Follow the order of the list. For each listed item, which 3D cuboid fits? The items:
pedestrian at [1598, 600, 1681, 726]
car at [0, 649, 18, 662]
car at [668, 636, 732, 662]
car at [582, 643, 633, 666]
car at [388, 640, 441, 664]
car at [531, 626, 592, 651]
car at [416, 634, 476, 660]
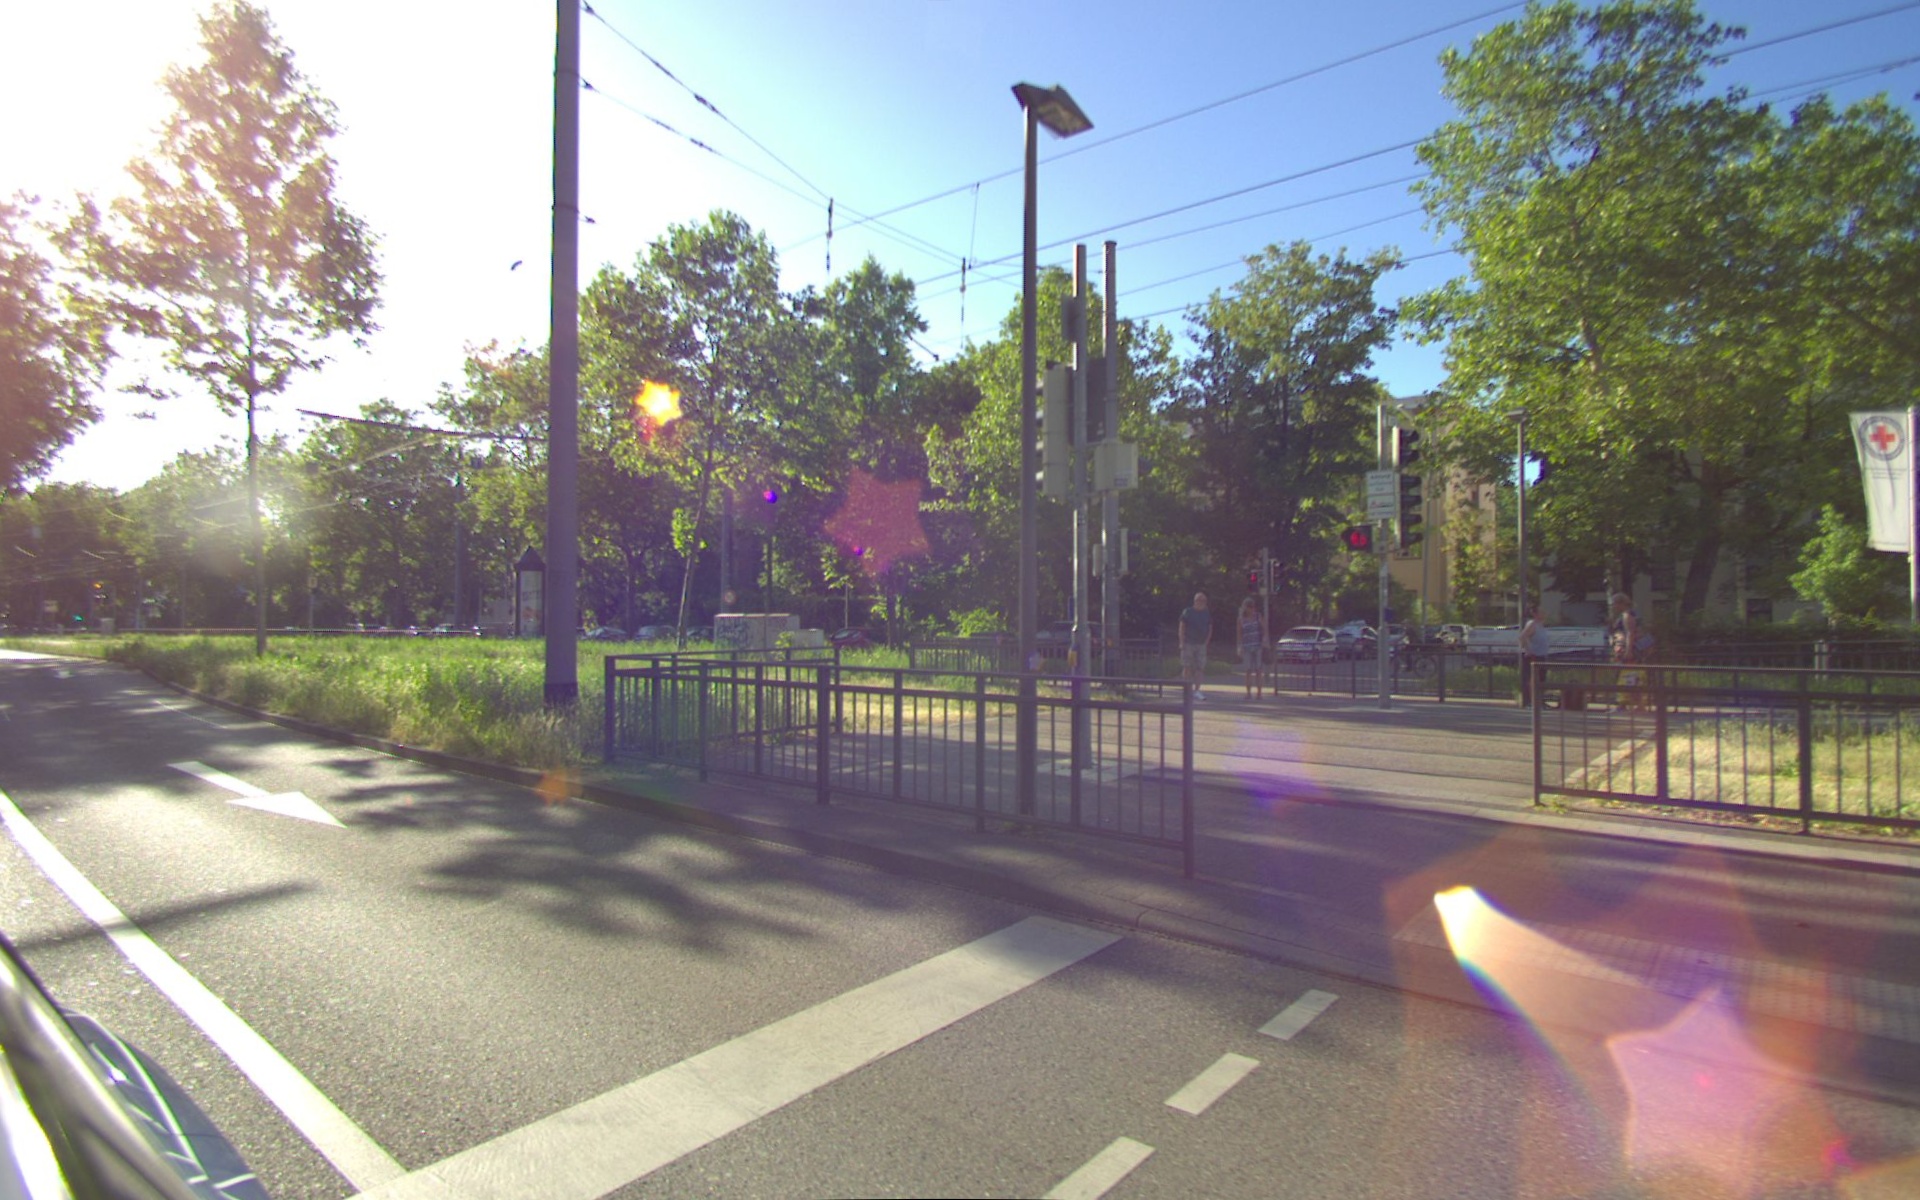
[{"bbox_3d":[9.419,0.839,14.059,0.890,1.656,1.167,-1,-2,34],"label":"pedestrian"},{"bbox_3d":[-120.767,7.075,127.944,3.870,1.541,1.827,-3,-1,39],"label":"car"},{"bbox_3d":[-12.902,2.394,50.133,3.356,1.238,1.393,-2,-2,40],"label":"car"},{"bbox_3d":[-19.368,2.962,55.527,2.842,1.209,1.386,-2,-2,40],"label":"car"},{"bbox_3d":[-40.049,3.829,74.312,3.995,1.634,1.974,-3,-1,38],"label":"car"},{"bbox_3d":[-23.300,2.256,59.150,3.778,1.322,1.751,-3,-1,41],"label":"car"},{"bbox_3d":[-35.930,3.270,70.681,4.508,1.696,1.975,-3,-1,38],"label":"car"}]
